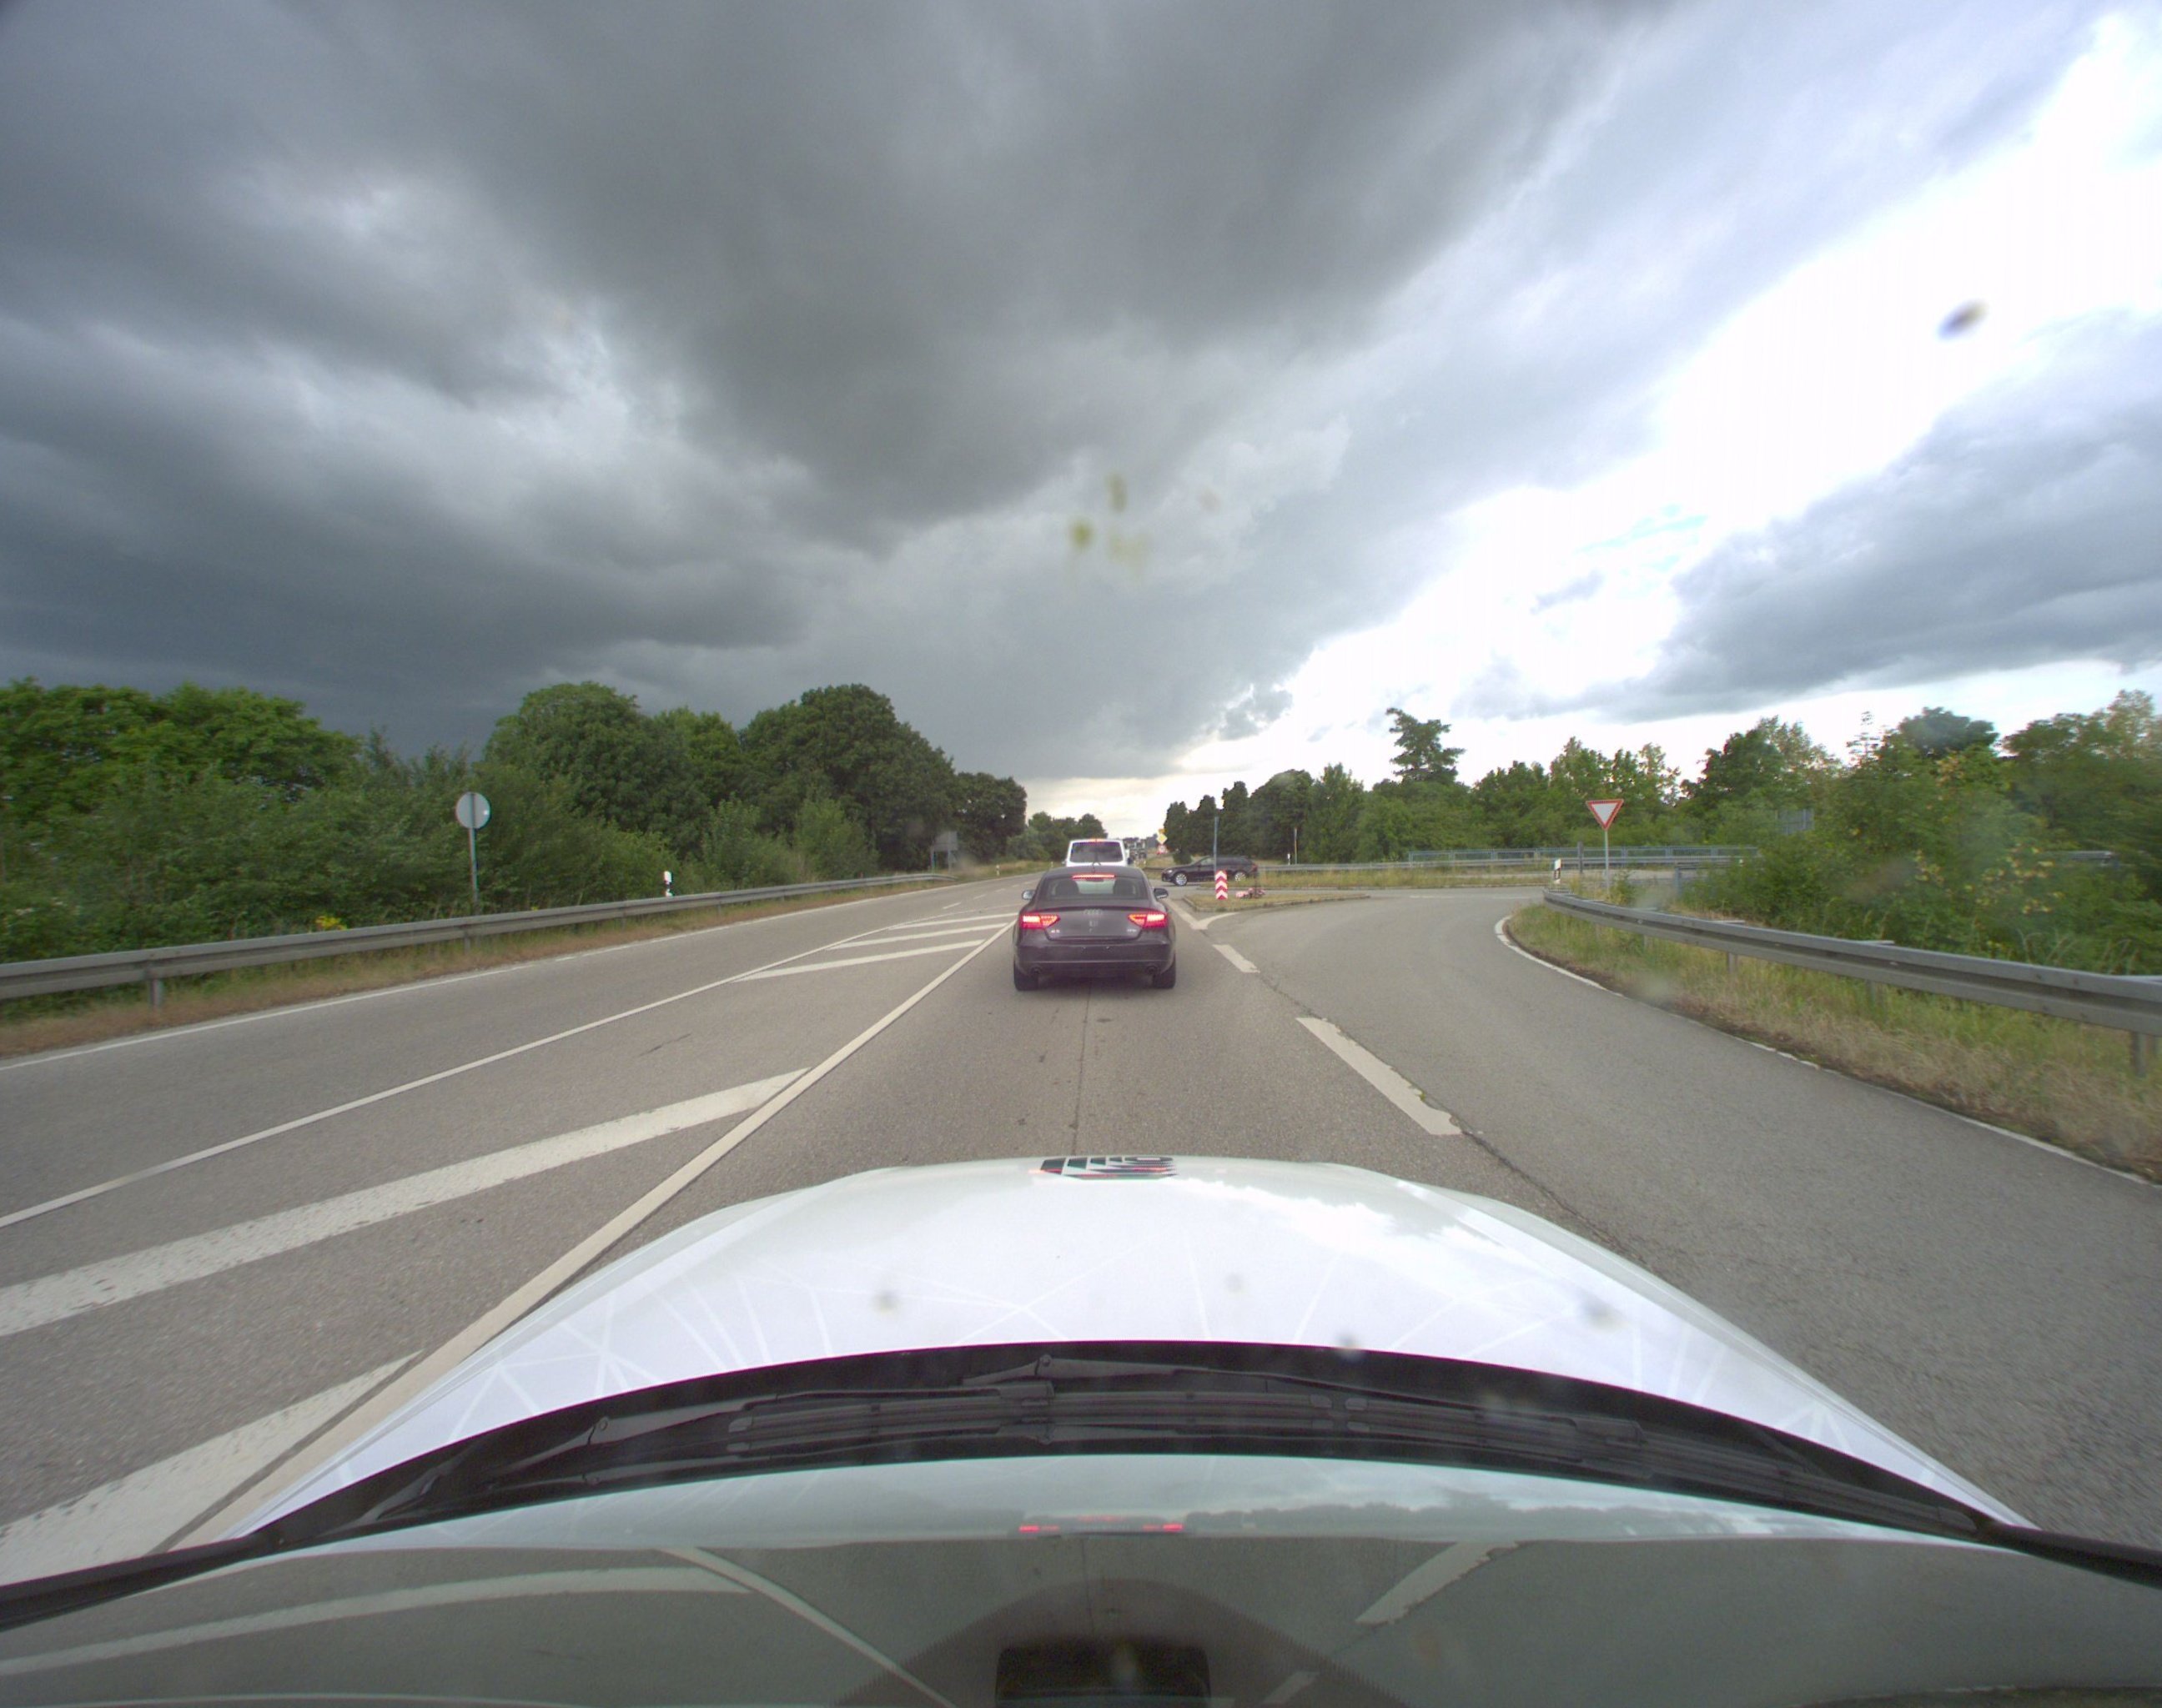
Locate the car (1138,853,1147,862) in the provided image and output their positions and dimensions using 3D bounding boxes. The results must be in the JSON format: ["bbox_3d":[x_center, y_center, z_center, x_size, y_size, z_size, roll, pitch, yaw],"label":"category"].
[{"bbox_3d":[15.275,0.868,201.419,1.986,2.013,4.001,-1,0,1],"label":"car"}]

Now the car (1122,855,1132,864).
[{"bbox_3d":[7.126,0.922,126.882,1.251,1.353,3.473,-2,0,8],"label":"car"}]

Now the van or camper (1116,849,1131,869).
[{"bbox_3d":[7.447,0.896,142.157,2.330,3.481,5.724,-1,0,4],"label":"van or camper"}]

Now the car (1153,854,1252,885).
[{"bbox_3d":[5.793,0.755,39.284,4.575,1.374,1.828,-1,0,4],"label":"car"}]

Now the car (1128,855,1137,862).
[{"bbox_3d":[10.911,1.035,173.127,1.712,1.451,4.003,0,0,3],"label":"car"}]

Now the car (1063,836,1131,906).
[{"bbox_3d":[0.496,0.454,23.994,1.832,1.882,4.002,-1,0,2],"label":"car"}]

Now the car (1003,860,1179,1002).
[{"bbox_3d":[0.163,0.800,10.262,1.776,1.376,4.002,-1,0,2],"label":"car"}]

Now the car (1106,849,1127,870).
[{"bbox_3d":[3.800,0.562,85.927,1.984,2.088,4.005,-1,0,5],"label":"car"}]
